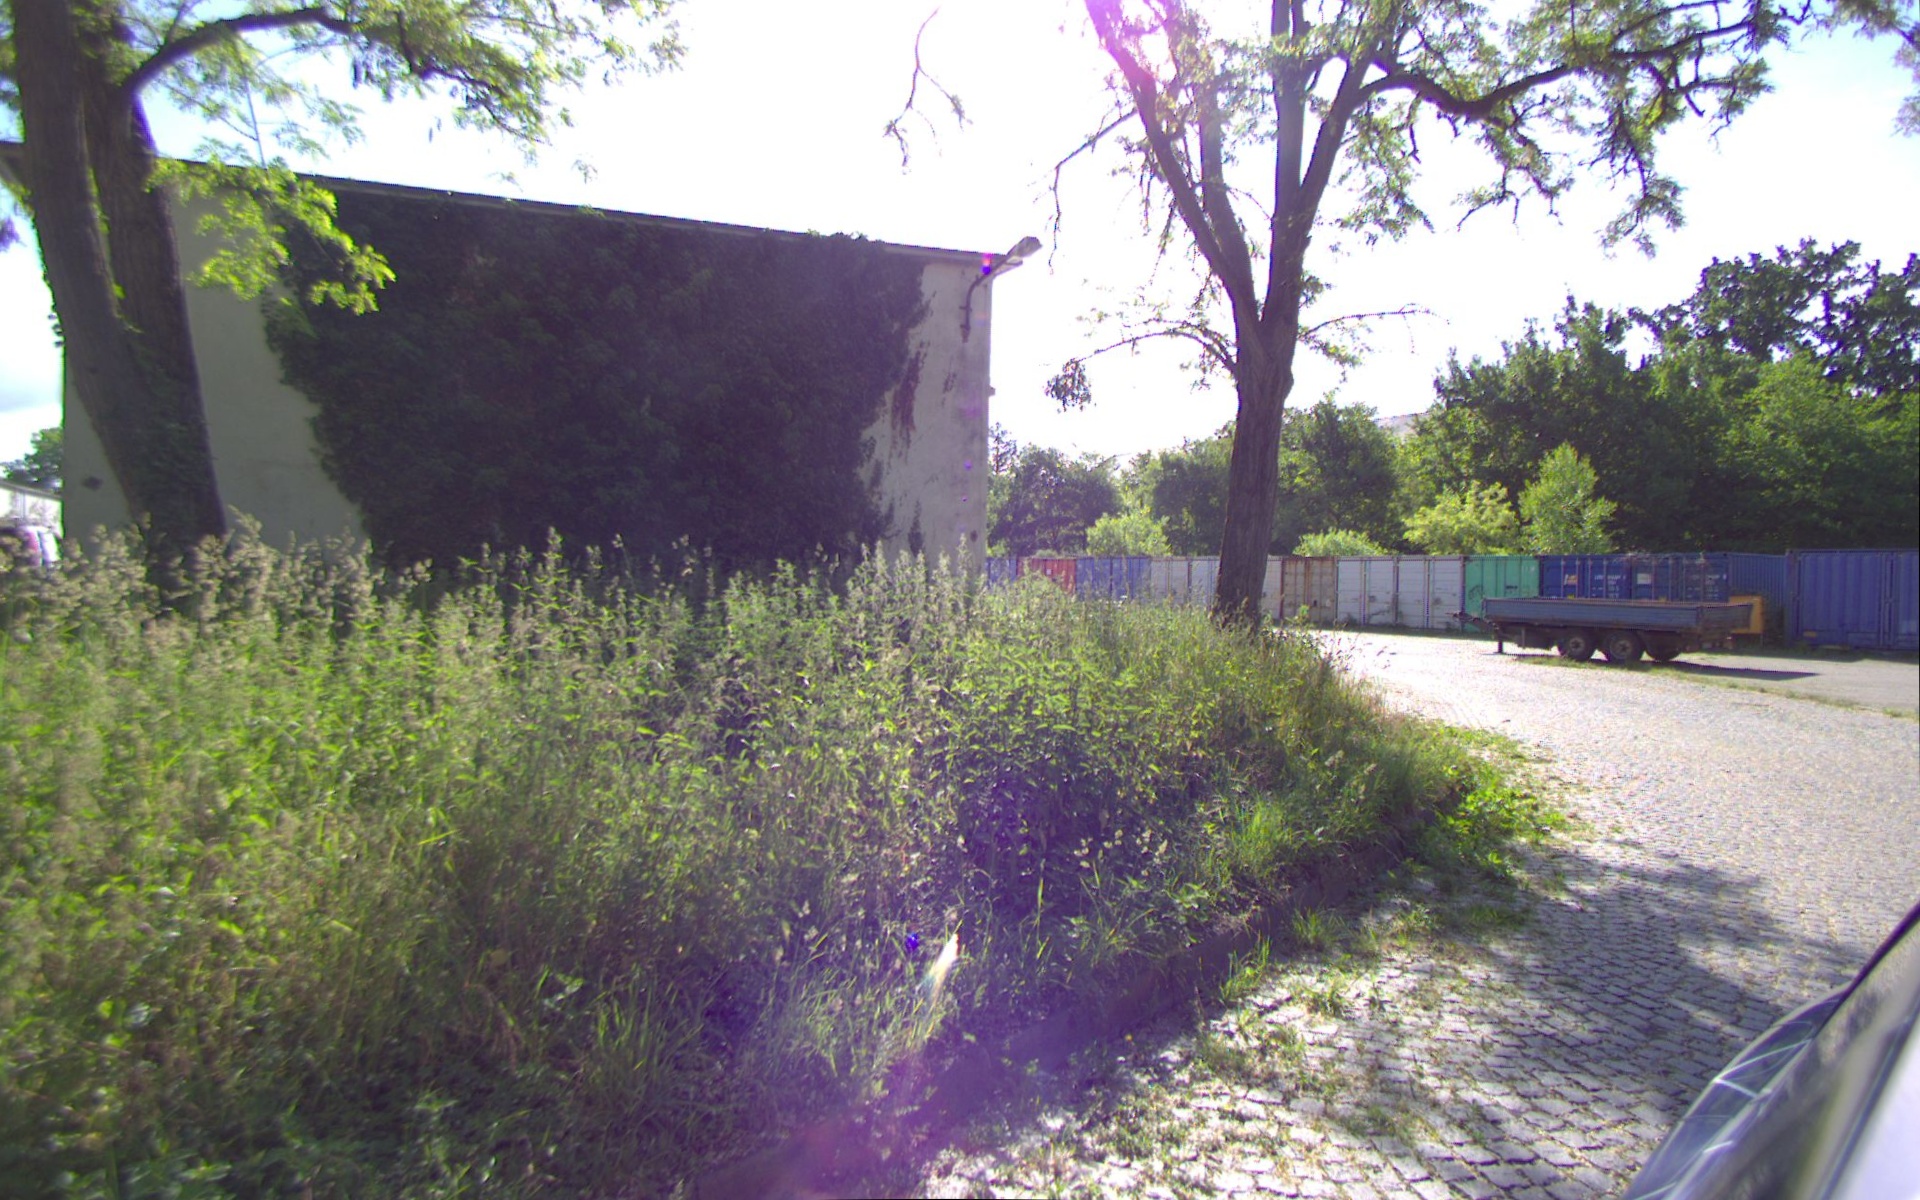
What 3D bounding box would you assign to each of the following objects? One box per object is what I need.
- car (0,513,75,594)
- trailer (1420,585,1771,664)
[{"bbox_3d":[-25.478,-1.242,27.172,1.961,2.039,4.003,1,1,-32],"label":"car"},{"bbox_3d":[14.719,0.441,23.990,2.800,1.536,6.497,-1,2,-32],"label":"trailer"}]
